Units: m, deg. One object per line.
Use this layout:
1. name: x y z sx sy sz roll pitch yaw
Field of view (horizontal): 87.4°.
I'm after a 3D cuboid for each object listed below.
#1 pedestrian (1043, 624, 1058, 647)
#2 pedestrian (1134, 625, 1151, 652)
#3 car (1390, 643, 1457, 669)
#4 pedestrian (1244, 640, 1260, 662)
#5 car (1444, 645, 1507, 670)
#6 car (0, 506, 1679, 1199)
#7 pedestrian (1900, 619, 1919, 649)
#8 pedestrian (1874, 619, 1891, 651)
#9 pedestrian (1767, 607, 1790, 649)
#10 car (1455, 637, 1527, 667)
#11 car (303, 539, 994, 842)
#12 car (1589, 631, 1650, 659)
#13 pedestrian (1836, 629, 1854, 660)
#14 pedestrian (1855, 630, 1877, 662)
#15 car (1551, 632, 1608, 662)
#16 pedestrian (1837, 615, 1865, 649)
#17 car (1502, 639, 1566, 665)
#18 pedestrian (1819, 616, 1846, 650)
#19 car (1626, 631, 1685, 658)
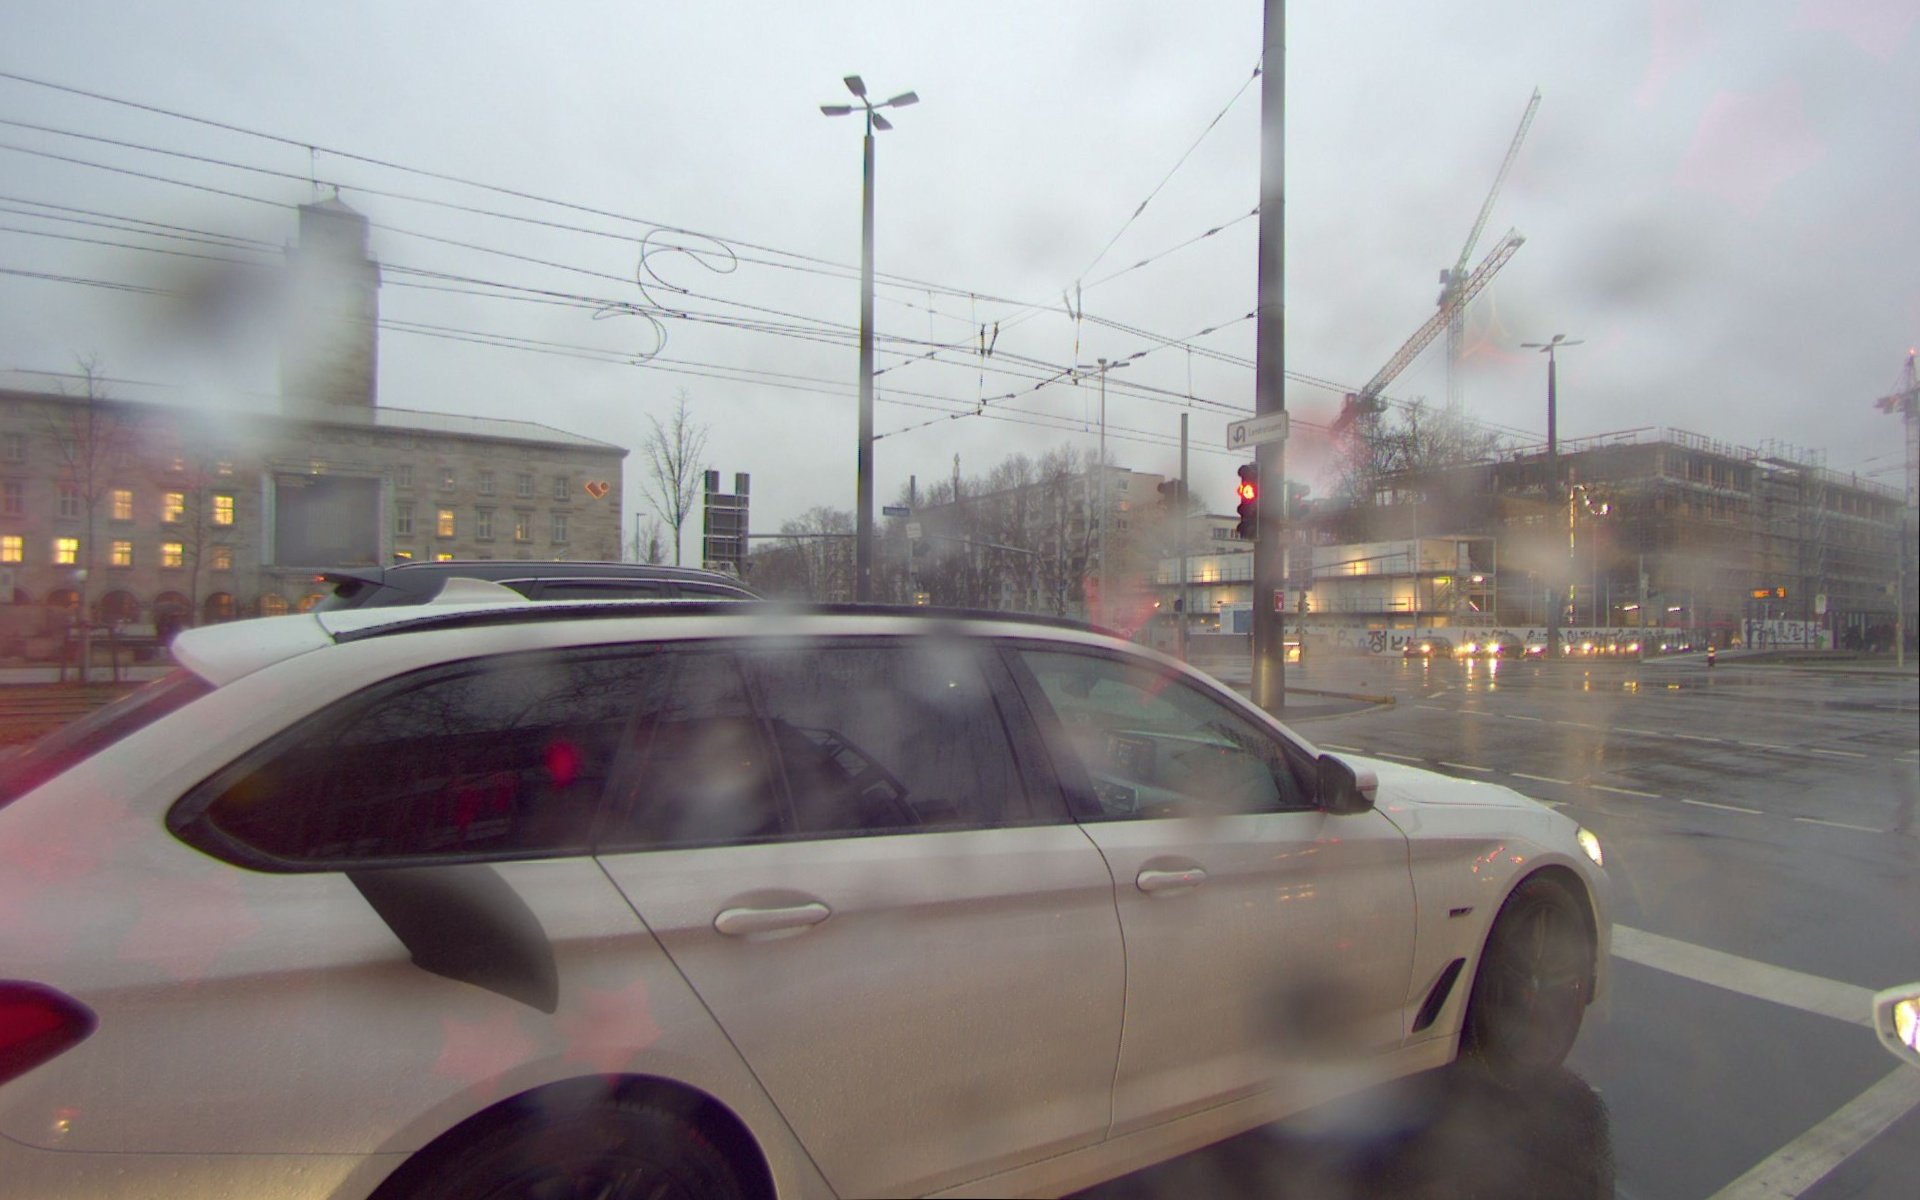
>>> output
1. pedestrian: 7.794 3.045 86.312 0.810 1.959 0.916 2 0 -36
2. pedestrian: 13.823 2.892 75.967 0.810 1.959 0.916 2 0 -36
3. car: 29.413 3.558 63.729 3.953 1.550 1.984 2 -2 -30
4. pedestrian: 19.402 3.388 66.755 0.715 1.407 0.725 2 -2 -28
5. car: 34.680 3.849 67.553 3.953 1.550 1.984 2 -2 -30
6. car: -0.001 0.704 3.096 4.508 1.506 2.007 2 -2 -31
7. pedestrian: 66.120 2.352 69.813 1.085 2.040 0.934 2 0 -39
8. pedestrian: 57.932 2.192 63.099 0.659 1.994 0.566 2 1 -36
9. pedestrian: 47.230 1.629 57.977 0.754 2.354 0.761 3 -1 -30
10. car: 31.180 3.037 58.985 3.953 1.679 1.984 2 -2 -30
11. car: -2.077 0.551 7.228 4.238 1.605 1.958 2 -1 -29
12. car: 45.998 3.150 70.041 3.952 1.814 1.984 2 0 -29
13. pedestrian: 54.462 2.729 61.808 0.547 1.906 0.695 2 0 -30
14. pedestrian: 56.532 2.875 62.676 0.754 1.922 0.761 3 -1 -30
15. car: 41.078 3.128 66.568 3.963 1.852 1.852 2 0 -37
16. pedestrian: 55.368 1.990 62.391 1.080 2.040 0.938 2 0 -28
17. car: 35.866 3.244 62.716 4.577 1.550 2.059 2 -2 -40
18. pedestrian: 53.453 1.993 61.508 1.082 2.040 0.937 2 0 -31
19. car: 50.598 3.260 73.049 3.952 1.814 1.984 2 0 -29
